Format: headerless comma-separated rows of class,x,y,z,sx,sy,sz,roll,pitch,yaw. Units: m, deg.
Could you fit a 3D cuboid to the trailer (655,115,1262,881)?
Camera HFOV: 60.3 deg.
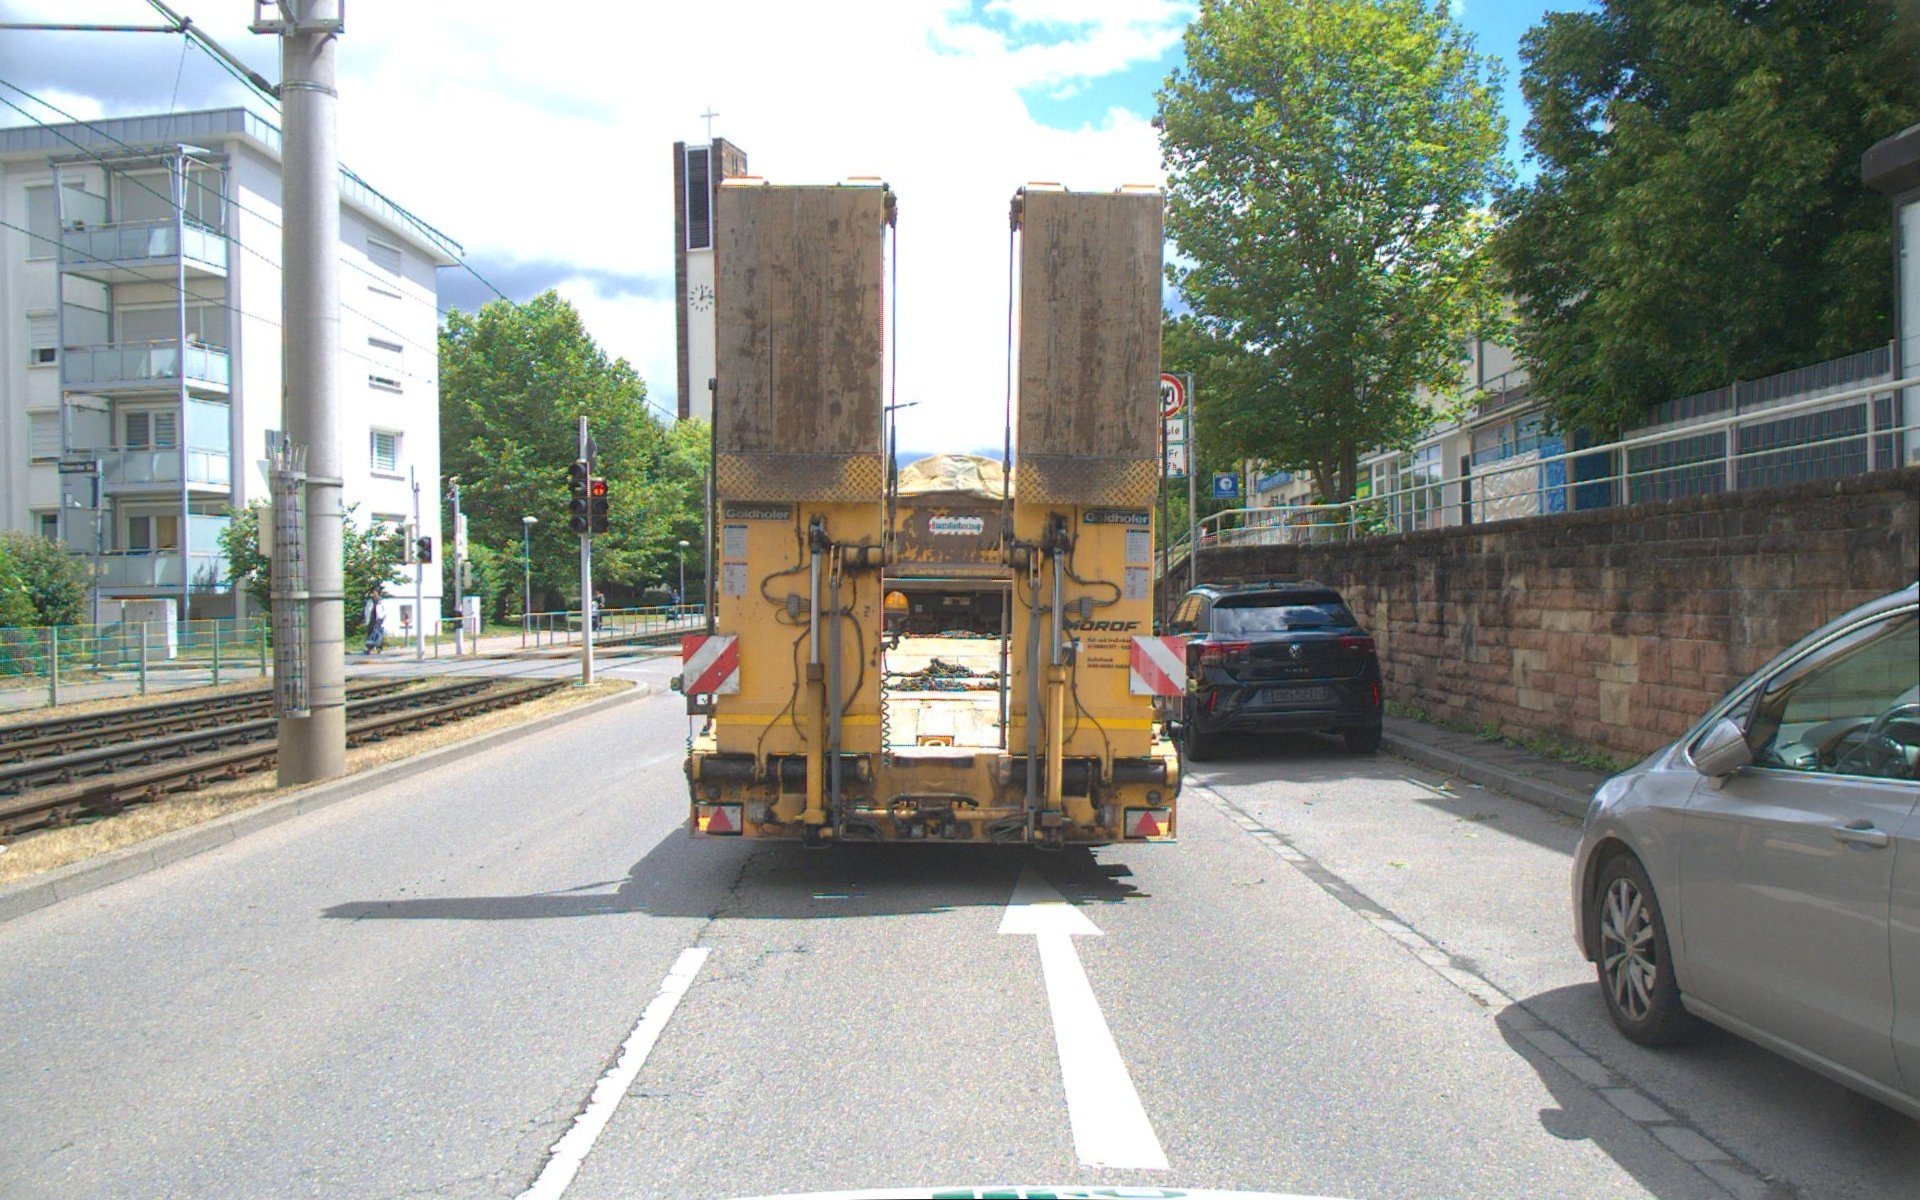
trailer,0.006,-0.524,12.330,2.885,3.664,8.683,-1,0,0

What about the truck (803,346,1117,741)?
truck,-0.004,-0.546,17.823,2.882,3.635,4.876,-1,0,0

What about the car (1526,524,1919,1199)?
car,3.139,0.613,4.271,1.754,1.646,4.247,-2,0,-2

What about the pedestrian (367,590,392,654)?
pedestrian,-14.586,0.550,41.545,0.428,1.608,0.475,-1,0,4

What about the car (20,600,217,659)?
car,-20.617,0.711,40.608,3.902,1.369,1.903,-1,0,7

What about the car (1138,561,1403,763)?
car,2.887,0.526,16.243,1.813,1.668,4.000,-2,0,0

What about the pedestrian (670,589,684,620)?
pedestrian,-14.154,0.201,82.804,0.552,1.540,0.645,1,0,-2

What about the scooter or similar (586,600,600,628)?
scooter or similar,-14.522,0.542,65.484,0.331,1.076,0.688,-1,0,6

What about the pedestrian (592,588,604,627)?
pedestrian,-14.468,0.304,66.135,0.341,1.564,0.557,-1,0,3

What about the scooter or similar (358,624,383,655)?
scooter or similar,-14.628,0.979,41.060,0.428,0.760,0.475,-1,0,4

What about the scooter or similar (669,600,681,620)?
scooter or similar,-14.166,0.477,82.154,0.495,0.988,0.645,1,0,-2
